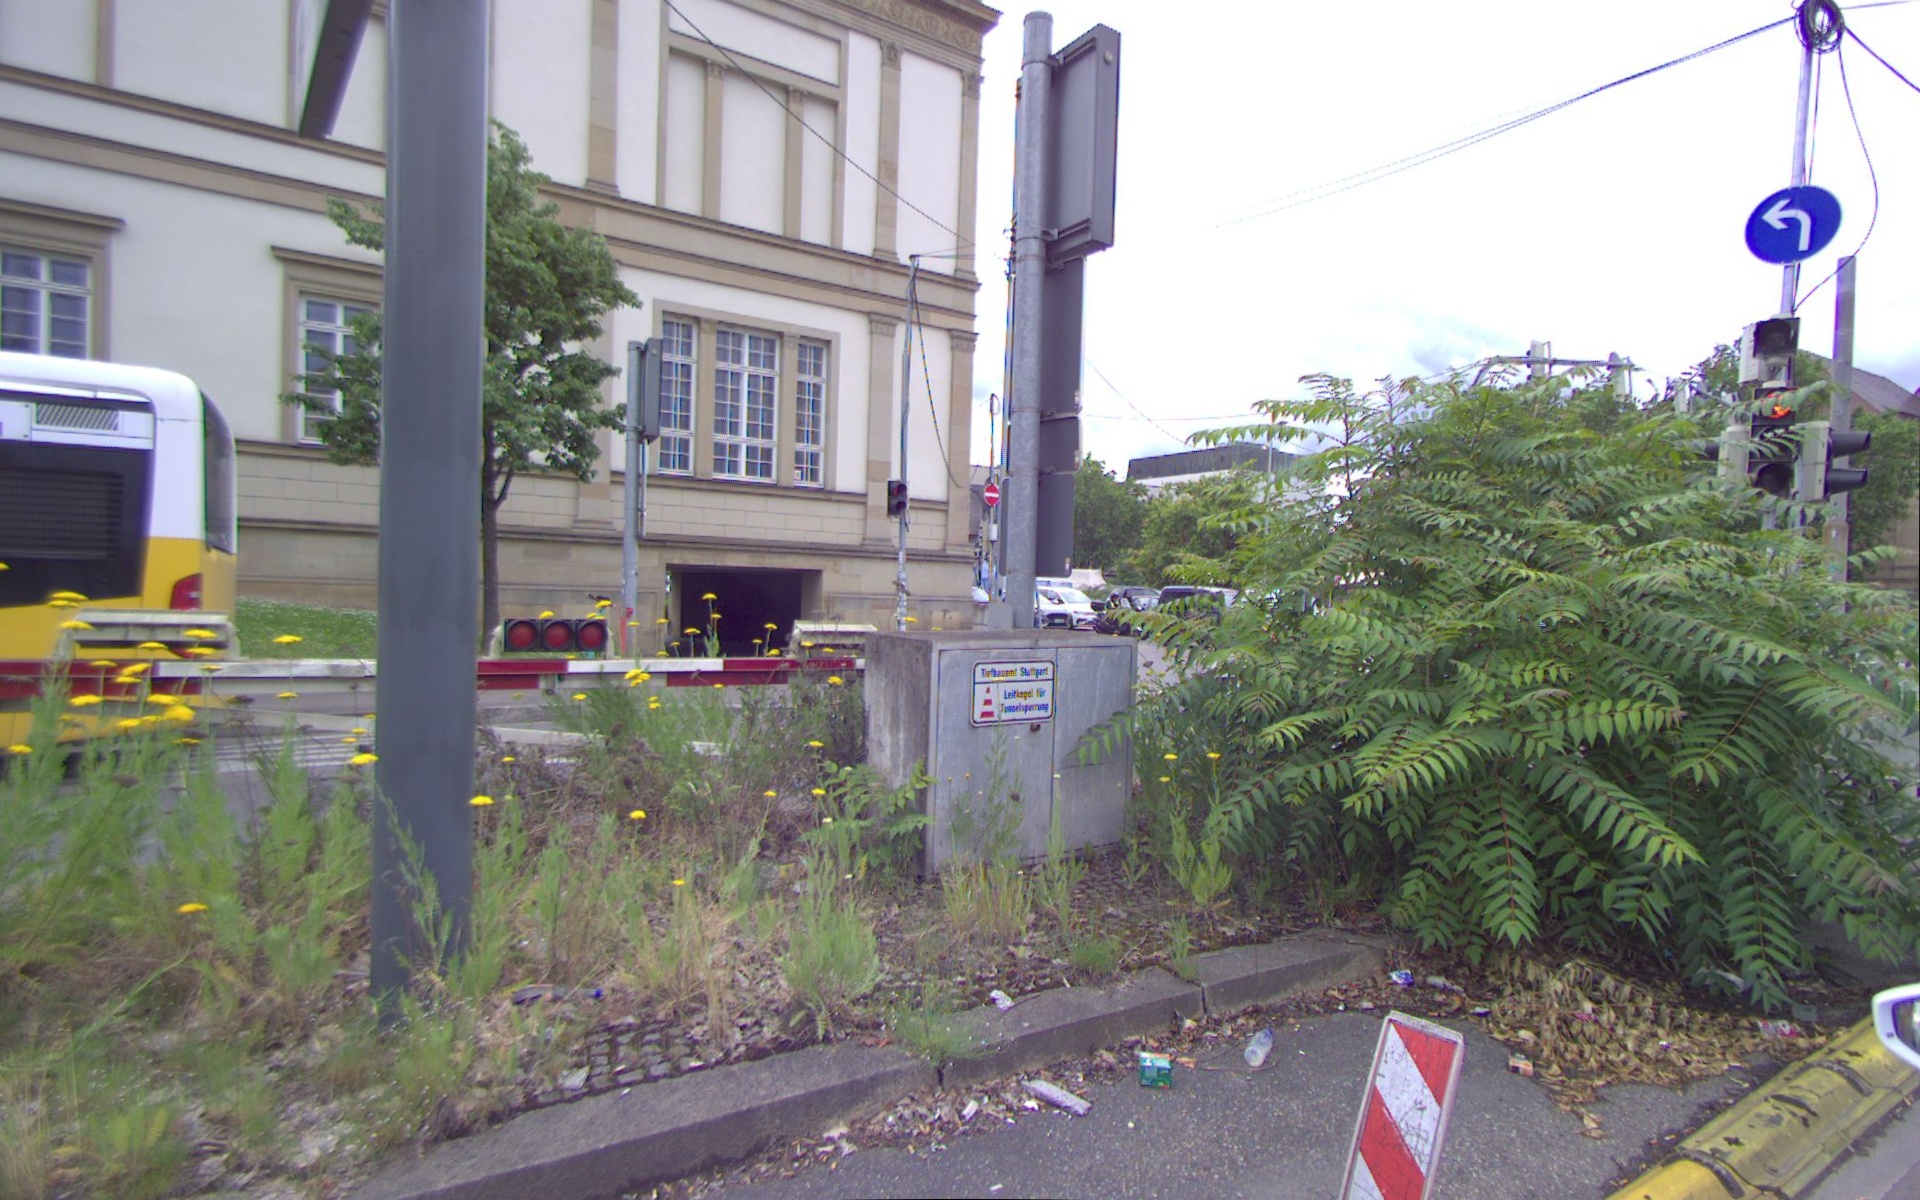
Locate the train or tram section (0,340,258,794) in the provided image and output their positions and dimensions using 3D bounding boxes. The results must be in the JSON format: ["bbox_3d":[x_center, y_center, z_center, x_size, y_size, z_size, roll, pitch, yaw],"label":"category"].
[{"bbox_3d":[-10.167,-0.274,6.273,9.229,3.112,2.680,1,-1,-31],"label":"train or tram section"}]

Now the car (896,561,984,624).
[{"bbox_3d":[-0.921,-0.329,43.739,1.978,2.585,4.083,2,0,-32],"label":"car"}]

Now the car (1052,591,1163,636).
[{"bbox_3d":[5.518,0.502,38.057,1.978,1.568,4.084,2,0,-32],"label":"car"}]

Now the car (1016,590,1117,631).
[{"bbox_3d":[4.274,0.405,40.895,1.978,1.568,4.084,2,0,-32],"label":"car"}]

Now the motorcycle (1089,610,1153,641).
[{"bbox_3d":[5.186,0.811,32.526,0.690,0.953,2.335,2,-1,-32],"label":"motorcycle"}]

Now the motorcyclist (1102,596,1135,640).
[{"bbox_3d":[5.150,0.586,32.593,0.690,1.398,0.784,2,0,-33],"label":"motorcyclist"}]

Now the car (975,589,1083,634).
[{"bbox_3d":[2.507,0.402,37.576,1.978,1.568,4.083,2,0,-32],"label":"car"}]

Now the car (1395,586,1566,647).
[{"bbox_3d":[16.670,0.489,32.318,1.986,1.783,4.448,2,0,-43],"label":"car"}]
